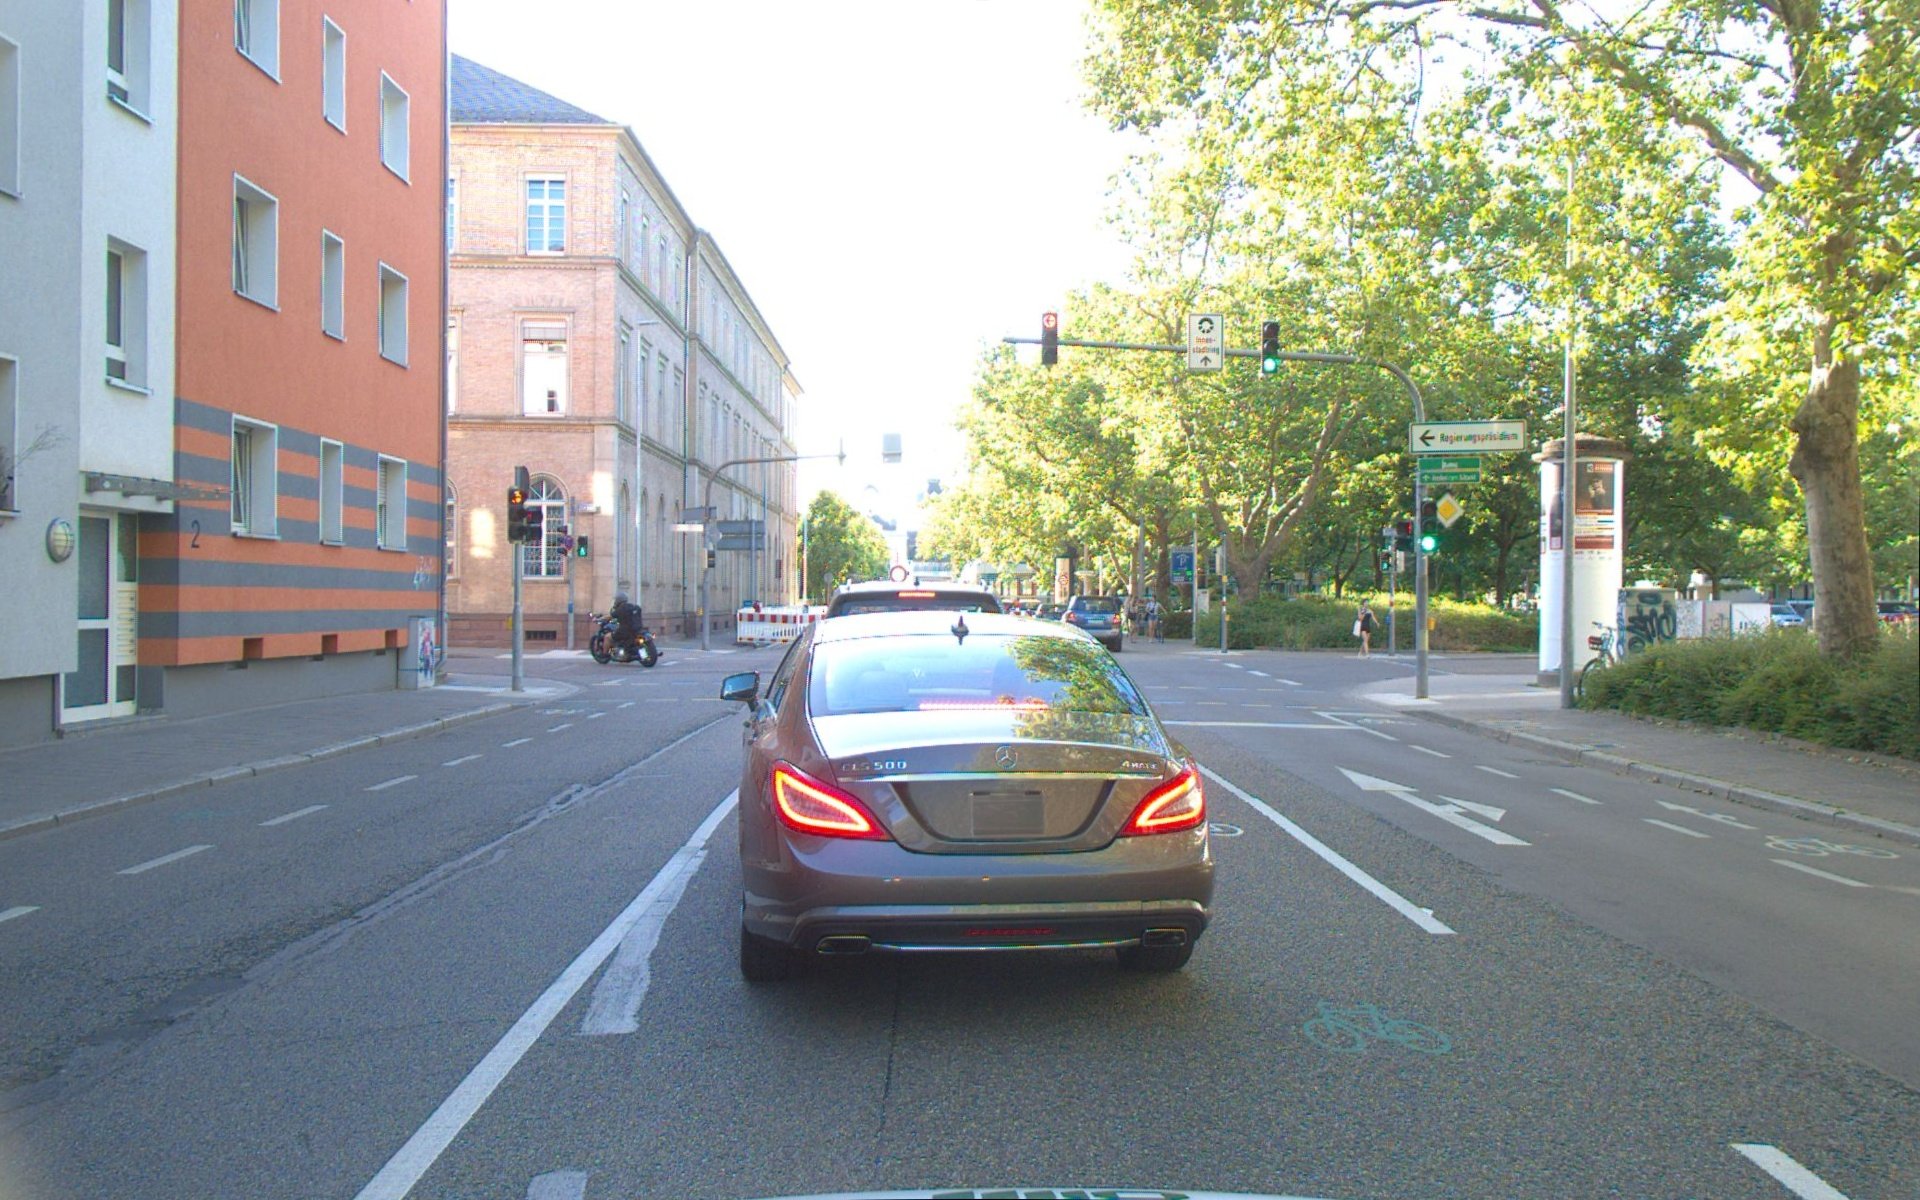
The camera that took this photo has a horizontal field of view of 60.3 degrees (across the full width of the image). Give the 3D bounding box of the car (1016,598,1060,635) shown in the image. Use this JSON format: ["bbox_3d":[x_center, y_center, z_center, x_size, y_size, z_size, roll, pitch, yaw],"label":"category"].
[{"bbox_3d":[3.383,0.710,72.701,1.670,1.545,3.999,1,0,-1],"label":"car"}]

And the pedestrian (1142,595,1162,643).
[{"bbox_3d":[7.185,0.714,61.880,0.623,1.791,0.698,1,-1,-5],"label":"pedestrian"}]

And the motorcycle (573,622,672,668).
[{"bbox_3d":[-7.087,0.926,34.685,2.014,0.908,0.754,1,0,29],"label":"motorcycle"}]

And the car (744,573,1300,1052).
[{"bbox_3d":[-0.030,0.688,7.458,1.826,1.545,3.993,1,0,-8],"label":"car"}]

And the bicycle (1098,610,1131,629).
[{"bbox_3d":[6.584,0.836,70.526,0.709,0.805,1.925,1,0,27],"label":"bicycle"}]

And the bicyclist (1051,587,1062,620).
[{"bbox_3d":[6.150,0.240,105.087,0.583,2.075,0.565,1,-1,-5],"label":"bicyclist"}]

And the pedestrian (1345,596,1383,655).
[{"bbox_3d":[10.985,0.681,44.990,0.625,1.572,0.906,1,-1,-15],"label":"pedestrian"}]

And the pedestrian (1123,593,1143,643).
[{"bbox_3d":[6.495,0.671,62.063,0.623,1.828,0.698,1,-1,-5],"label":"pedestrian"}]

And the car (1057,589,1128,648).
[{"bbox_3d":[4.179,0.559,52.876,1.823,1.794,4.481,1,0,-1],"label":"car"}]

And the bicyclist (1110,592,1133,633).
[{"bbox_3d":[6.513,0.495,66.766,0.808,1.646,0.957,1,0,-1],"label":"bicyclist"}]

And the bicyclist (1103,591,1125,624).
[{"bbox_3d":[6.573,0.316,70.512,0.719,1.422,0.697,1,-1,28],"label":"bicyclist"}]

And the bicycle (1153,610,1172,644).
[{"bbox_3d":[7.570,1.008,61.890,0.472,1.223,1.606,1,0,-1],"label":"bicycle"}]

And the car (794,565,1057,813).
[{"bbox_3d":[-0.266,0.619,13.586,1.823,1.712,3.999,1,0,-1],"label":"car"}]

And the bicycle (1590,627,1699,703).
[{"bbox_3d":[9.875,0.923,23.831,1.868,1.046,0.633,1,-1,-39],"label":"bicycle"}]

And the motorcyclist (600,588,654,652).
[{"bbox_3d":[-6.964,0.420,34.620,0.785,1.317,0.788,1,-1,28],"label":"motorcyclist"}]

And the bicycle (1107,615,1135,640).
[{"bbox_3d":[6.505,1.100,66.877,0.811,0.940,2.616,1,0,-1],"label":"bicycle"}]
